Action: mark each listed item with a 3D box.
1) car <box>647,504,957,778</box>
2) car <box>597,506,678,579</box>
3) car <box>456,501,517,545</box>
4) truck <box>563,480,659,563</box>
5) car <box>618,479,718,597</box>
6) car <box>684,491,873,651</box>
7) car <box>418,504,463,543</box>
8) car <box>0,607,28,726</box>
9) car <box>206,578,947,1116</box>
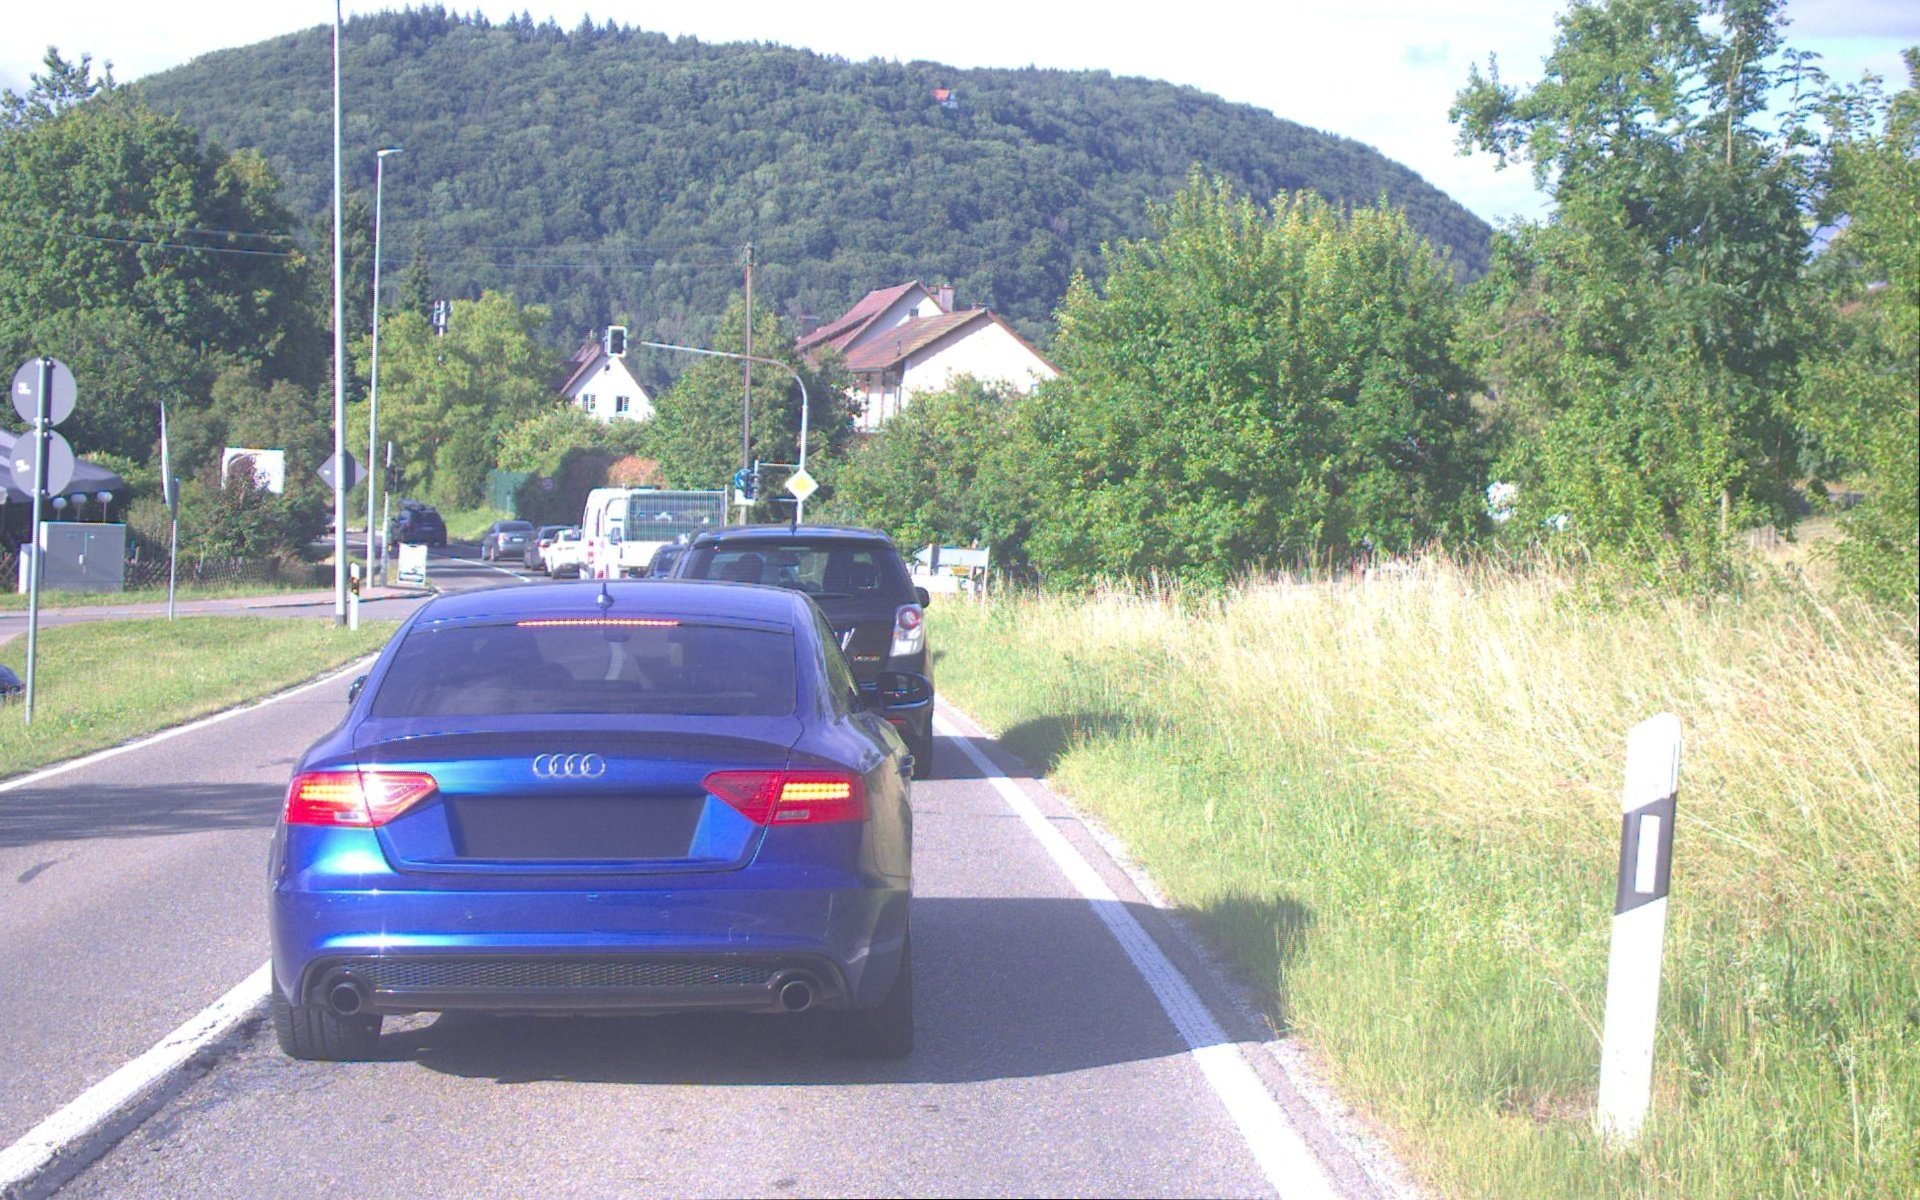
[{"bbox_3d":[-0.963,0.238,22.870,1.746,1.634,4.000,1,0,2],"label":"car"},{"bbox_3d":[-7.549,-1.328,80.217,1.746,1.634,4.001,1,0,-7],"label":"car"},{"bbox_3d":[-16.975,-2.747,123.082,1.697,1.485,3.528,1,0,-16],"label":"car"},{"bbox_3d":[-8.704,-1.912,85.354,1.697,1.947,5.924,1,0,-12],"label":"truck"},{"bbox_3d":[-5.672,-1.174,66.527,1.746,2.188,4.001,1,0,-7],"label":"car"},{"bbox_3d":[-1.950,-0.318,38.140,1.805,1.634,4.463,1,0,0],"label":"car"},{"bbox_3d":[-22.187,-3.265,146.861,1.625,1.571,3.680,1,0,-13],"label":"car"},{"bbox_3d":[-14.505,0.804,43.591,4.815,1.488,1.880,1,0,9],"label":"car"},{"bbox_3d":[-1.000,0.622,10.865,1.795,1.383,4.000,0,0,2],"label":"car"}]
